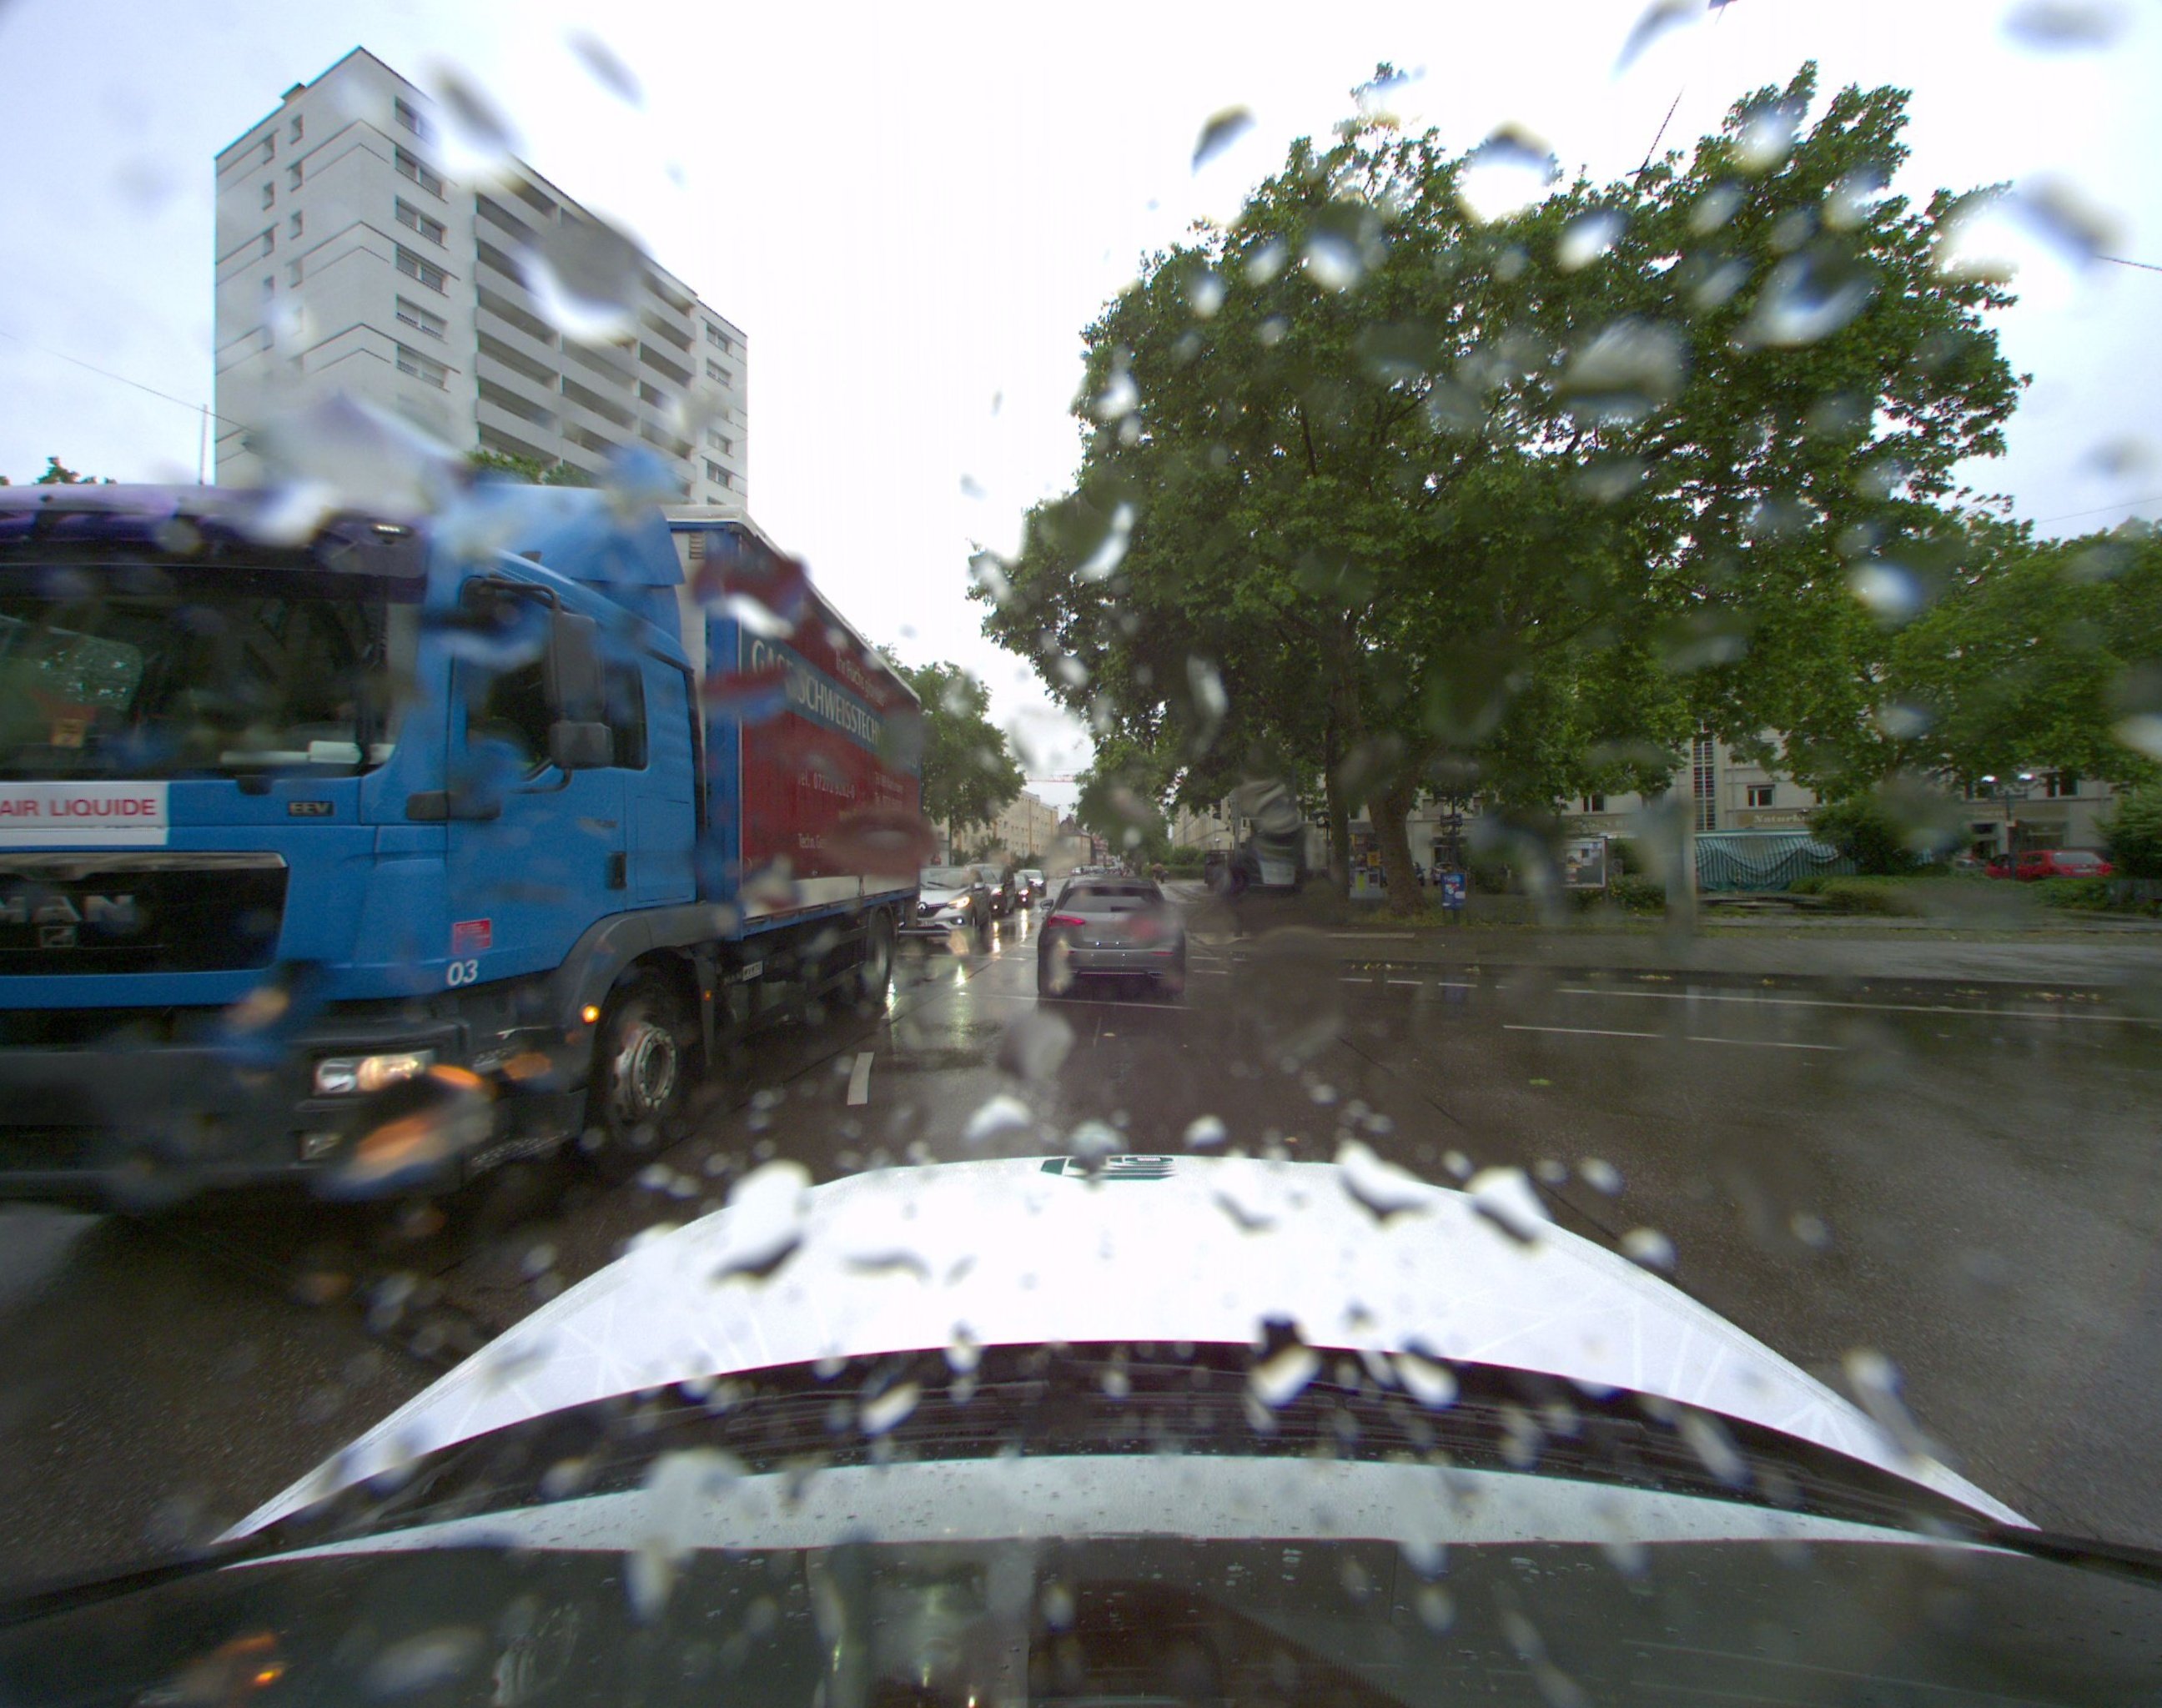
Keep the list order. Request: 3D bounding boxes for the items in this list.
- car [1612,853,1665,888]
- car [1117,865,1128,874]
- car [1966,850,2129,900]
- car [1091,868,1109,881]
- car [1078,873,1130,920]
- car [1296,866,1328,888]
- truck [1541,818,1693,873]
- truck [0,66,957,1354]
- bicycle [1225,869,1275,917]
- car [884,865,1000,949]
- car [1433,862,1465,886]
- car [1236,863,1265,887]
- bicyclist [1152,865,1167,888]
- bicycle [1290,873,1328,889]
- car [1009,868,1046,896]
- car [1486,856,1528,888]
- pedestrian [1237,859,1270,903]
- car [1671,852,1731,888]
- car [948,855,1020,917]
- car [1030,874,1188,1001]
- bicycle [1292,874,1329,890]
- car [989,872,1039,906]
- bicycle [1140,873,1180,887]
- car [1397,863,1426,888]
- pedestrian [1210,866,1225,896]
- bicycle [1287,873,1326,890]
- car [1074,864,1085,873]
[{"bbox_3d":[31.660,0.992,46.361,1.817,1.838,4.022,-2,-3,25],"label":"car"},{"bbox_3d":[8.411,3.140,165.028,2.037,1.836,4.797,-1,-1,4],"label":"car"},{"bbox_3d":[31.818,0.681,26.972,1.650,1.522,3.694,-1,-1,16],"label":"car"},{"bbox_3d":[2.261,2.448,97.033,1.987,1.574,3.998,-1,-1,0],"label":"car"},{"bbox_3d":[0.737,1.388,27.576,1.602,1.372,4.000,-2,-1,1],"label":"car"},{"bbox_3d":[15.688,1.583,55.177,1.568,1.337,3.280,-2,-3,25],"label":"car"},{"bbox_3d":[28.195,-0.385,43.135,6.324,2.700,2.280,-1,-2,21],"label":"truck"},{"bbox_3d":[-3.358,-0.404,7.690,2.837,4.025,10.311,-1,-1,-1],"label":"truck"},{"bbox_3d":[5.438,1.218,26.063,0.742,1.377,2.724,-2,-1,29],"label":"bicycle"},{"bbox_3d":[-2.881,1.049,17.678,1.736,1.604,4.000,-1,-1,1],"label":"car"},{"bbox_3d":[23.726,1.344,52.425,1.664,1.432,3.757,-2,-4,27],"label":"car"},{"bbox_3d":[11.754,1.502,56.459,1.675,1.551,3.537,-1,-3,16],"label":"car"},{"bbox_3d":[6.773,1.948,70.365,0.941,1.868,1.136,0,-3,-18],"label":"bicyclist"},{"bbox_3d":[14.284,1.692,51.122,2.232,0.968,0.537,-1,-1,23],"label":"bicycle"},{"bbox_3d":[-3.050,1.606,46.993,1.839,1.510,4.054,-1,-1,0],"label":"car"},{"bbox_3d":[26.309,1.150,50.420,2.135,1.838,4.022,-2,-3,25],"label":"car"},{"bbox_3d":[5.592,0.862,26.369,0.737,1.398,1.053,-2,-1,28],"label":"pedestrian"},{"bbox_3d":[34.534,0.944,45.467,1.817,1.838,4.022,-2,-3,25],"label":"car"},{"bbox_3d":[-3.161,1.021,27.177,1.800,1.862,4.110,-1,-1,1],"label":"car"},{"bbox_3d":[0.347,0.992,11.009,1.785,1.372,3.507,1,-1,1],"label":"car"},{"bbox_3d":[14.625,1.801,51.934,2.226,0.968,0.588,-1,-1,23],"label":"bicycle"},{"bbox_3d":[-2.868,1.485,35.578,1.736,1.390,4.363,0,-2,1],"label":"car"},{"bbox_3d":[6.826,2.251,70.418,3.214,1.112,1.047,-1,-3,-18],"label":"bicycle"},{"bbox_3d":[21.328,1.397,52.603,1.665,1.575,3.755,-1,-2,21],"label":"car"},{"bbox_3d":[7.695,1.528,45.862,0.714,1.669,0.665,-1,-1,1],"label":"pedestrian"},{"bbox_3d":[13.952,1.711,50.386,2.261,0.983,0.548,-1,-1,23],"label":"bicycle"},{"bbox_3d":[-0.308,3.042,172.621,1.881,1.836,4.004,-1,-1,4],"label":"car"}]
